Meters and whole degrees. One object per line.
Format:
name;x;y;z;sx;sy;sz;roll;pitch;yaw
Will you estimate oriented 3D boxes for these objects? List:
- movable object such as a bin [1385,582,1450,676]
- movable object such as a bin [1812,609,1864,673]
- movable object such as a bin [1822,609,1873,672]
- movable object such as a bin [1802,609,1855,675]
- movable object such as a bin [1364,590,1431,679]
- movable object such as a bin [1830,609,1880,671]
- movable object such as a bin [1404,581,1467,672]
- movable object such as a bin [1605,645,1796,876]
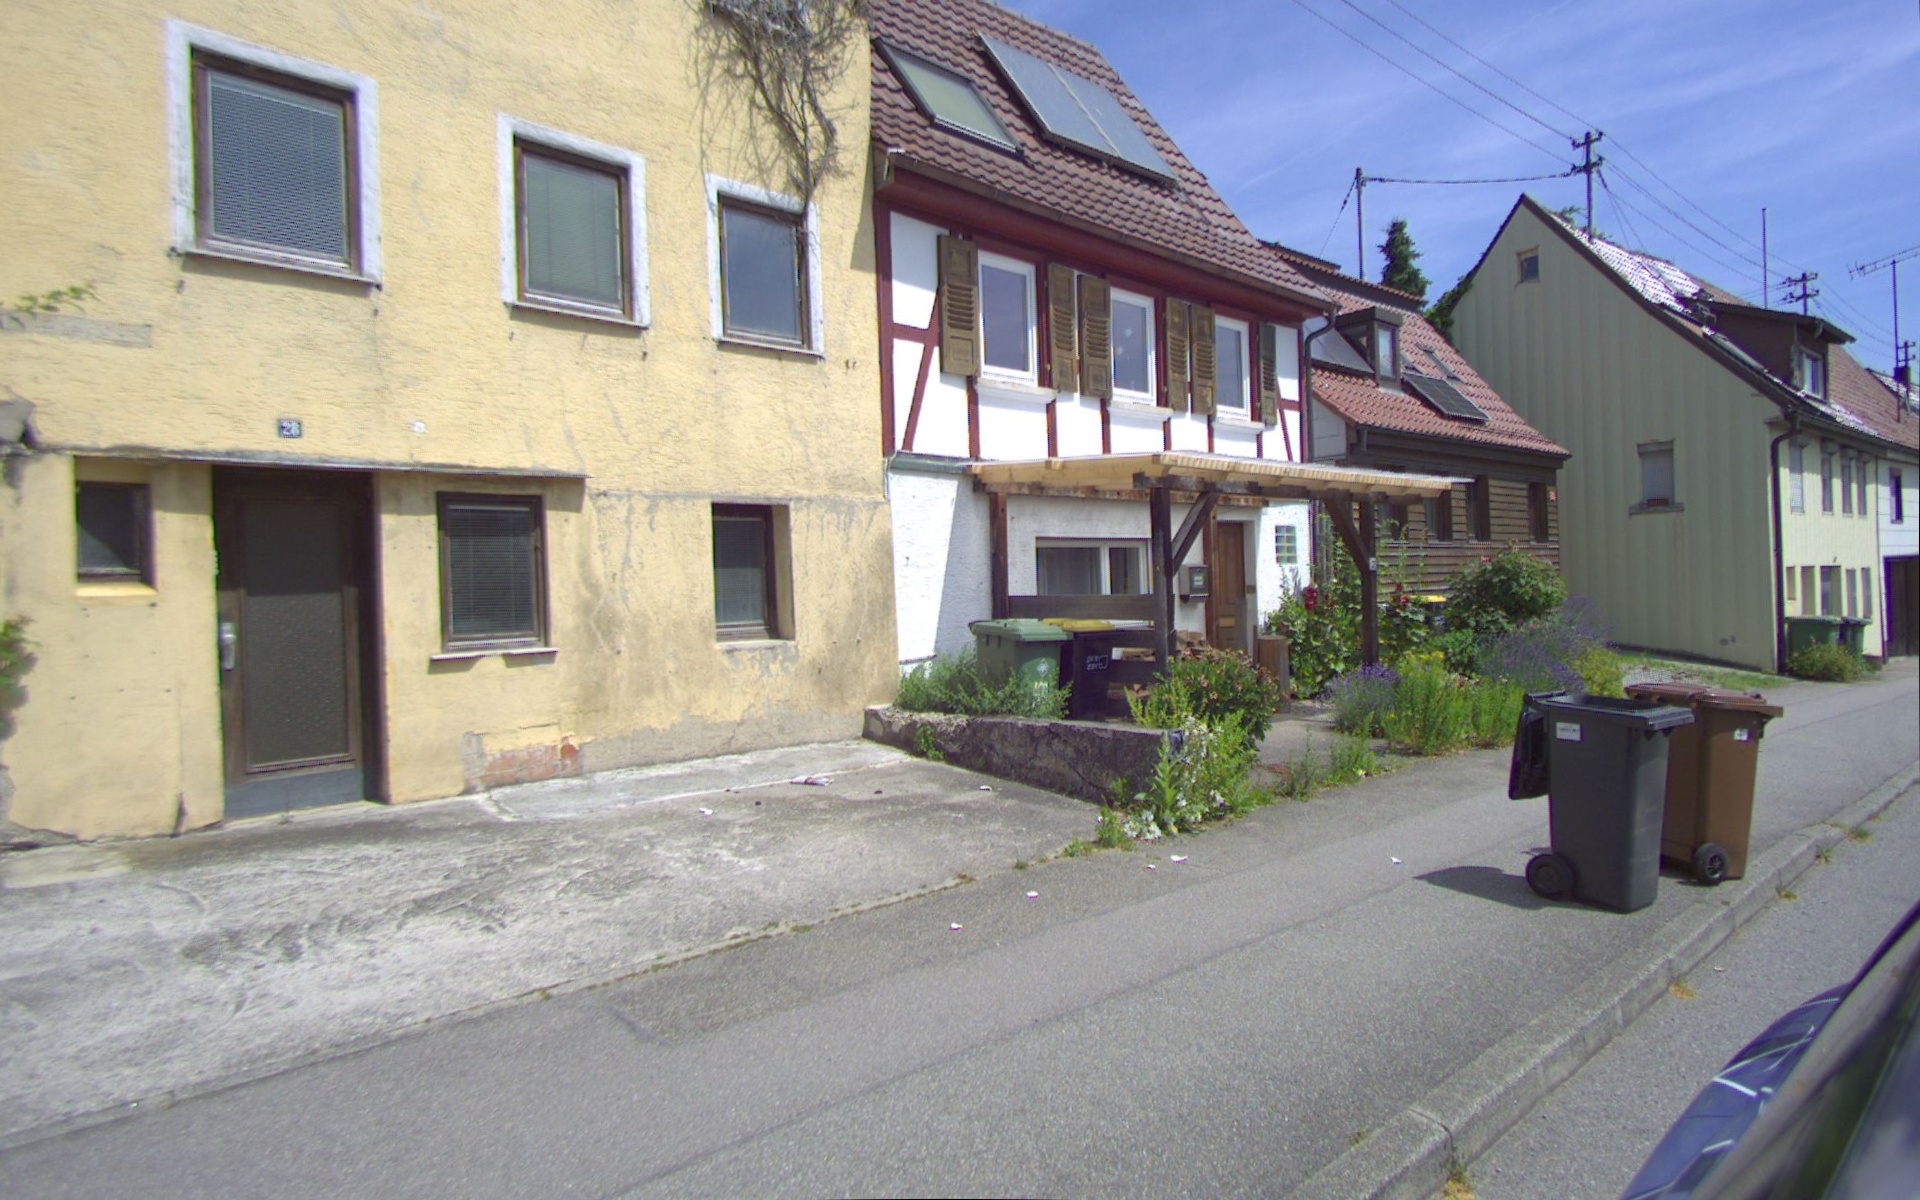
movable object such as a bin;6.087;0.366;13.463;0.540;1.171;0.536;0;6;-43
movable object such as a bin;15.062;0.698;17.355;0.541;1.046;0.548;1;1;-38
movable object such as a bin;15.532;0.699;17.713;0.541;1.046;0.548;1;1;-38
movable object such as a bin;14.535;0.689;16.935;0.541;1.046;0.548;1;1;-38
movable object such as a bin;5.652;0.425;13.075;0.540;1.069;0.536;0;6;-43
movable object such as a bin;15.987;0.704;18.084;0.541;1.046;0.548;1;1;-38
movable object such as a bin;6.506;0.351;13.844;0.502;1.171;0.536;0;6;-42
movable object such as a bin;3.688;0.771;5.064;0.537;1.046;0.497;1;2;-17
